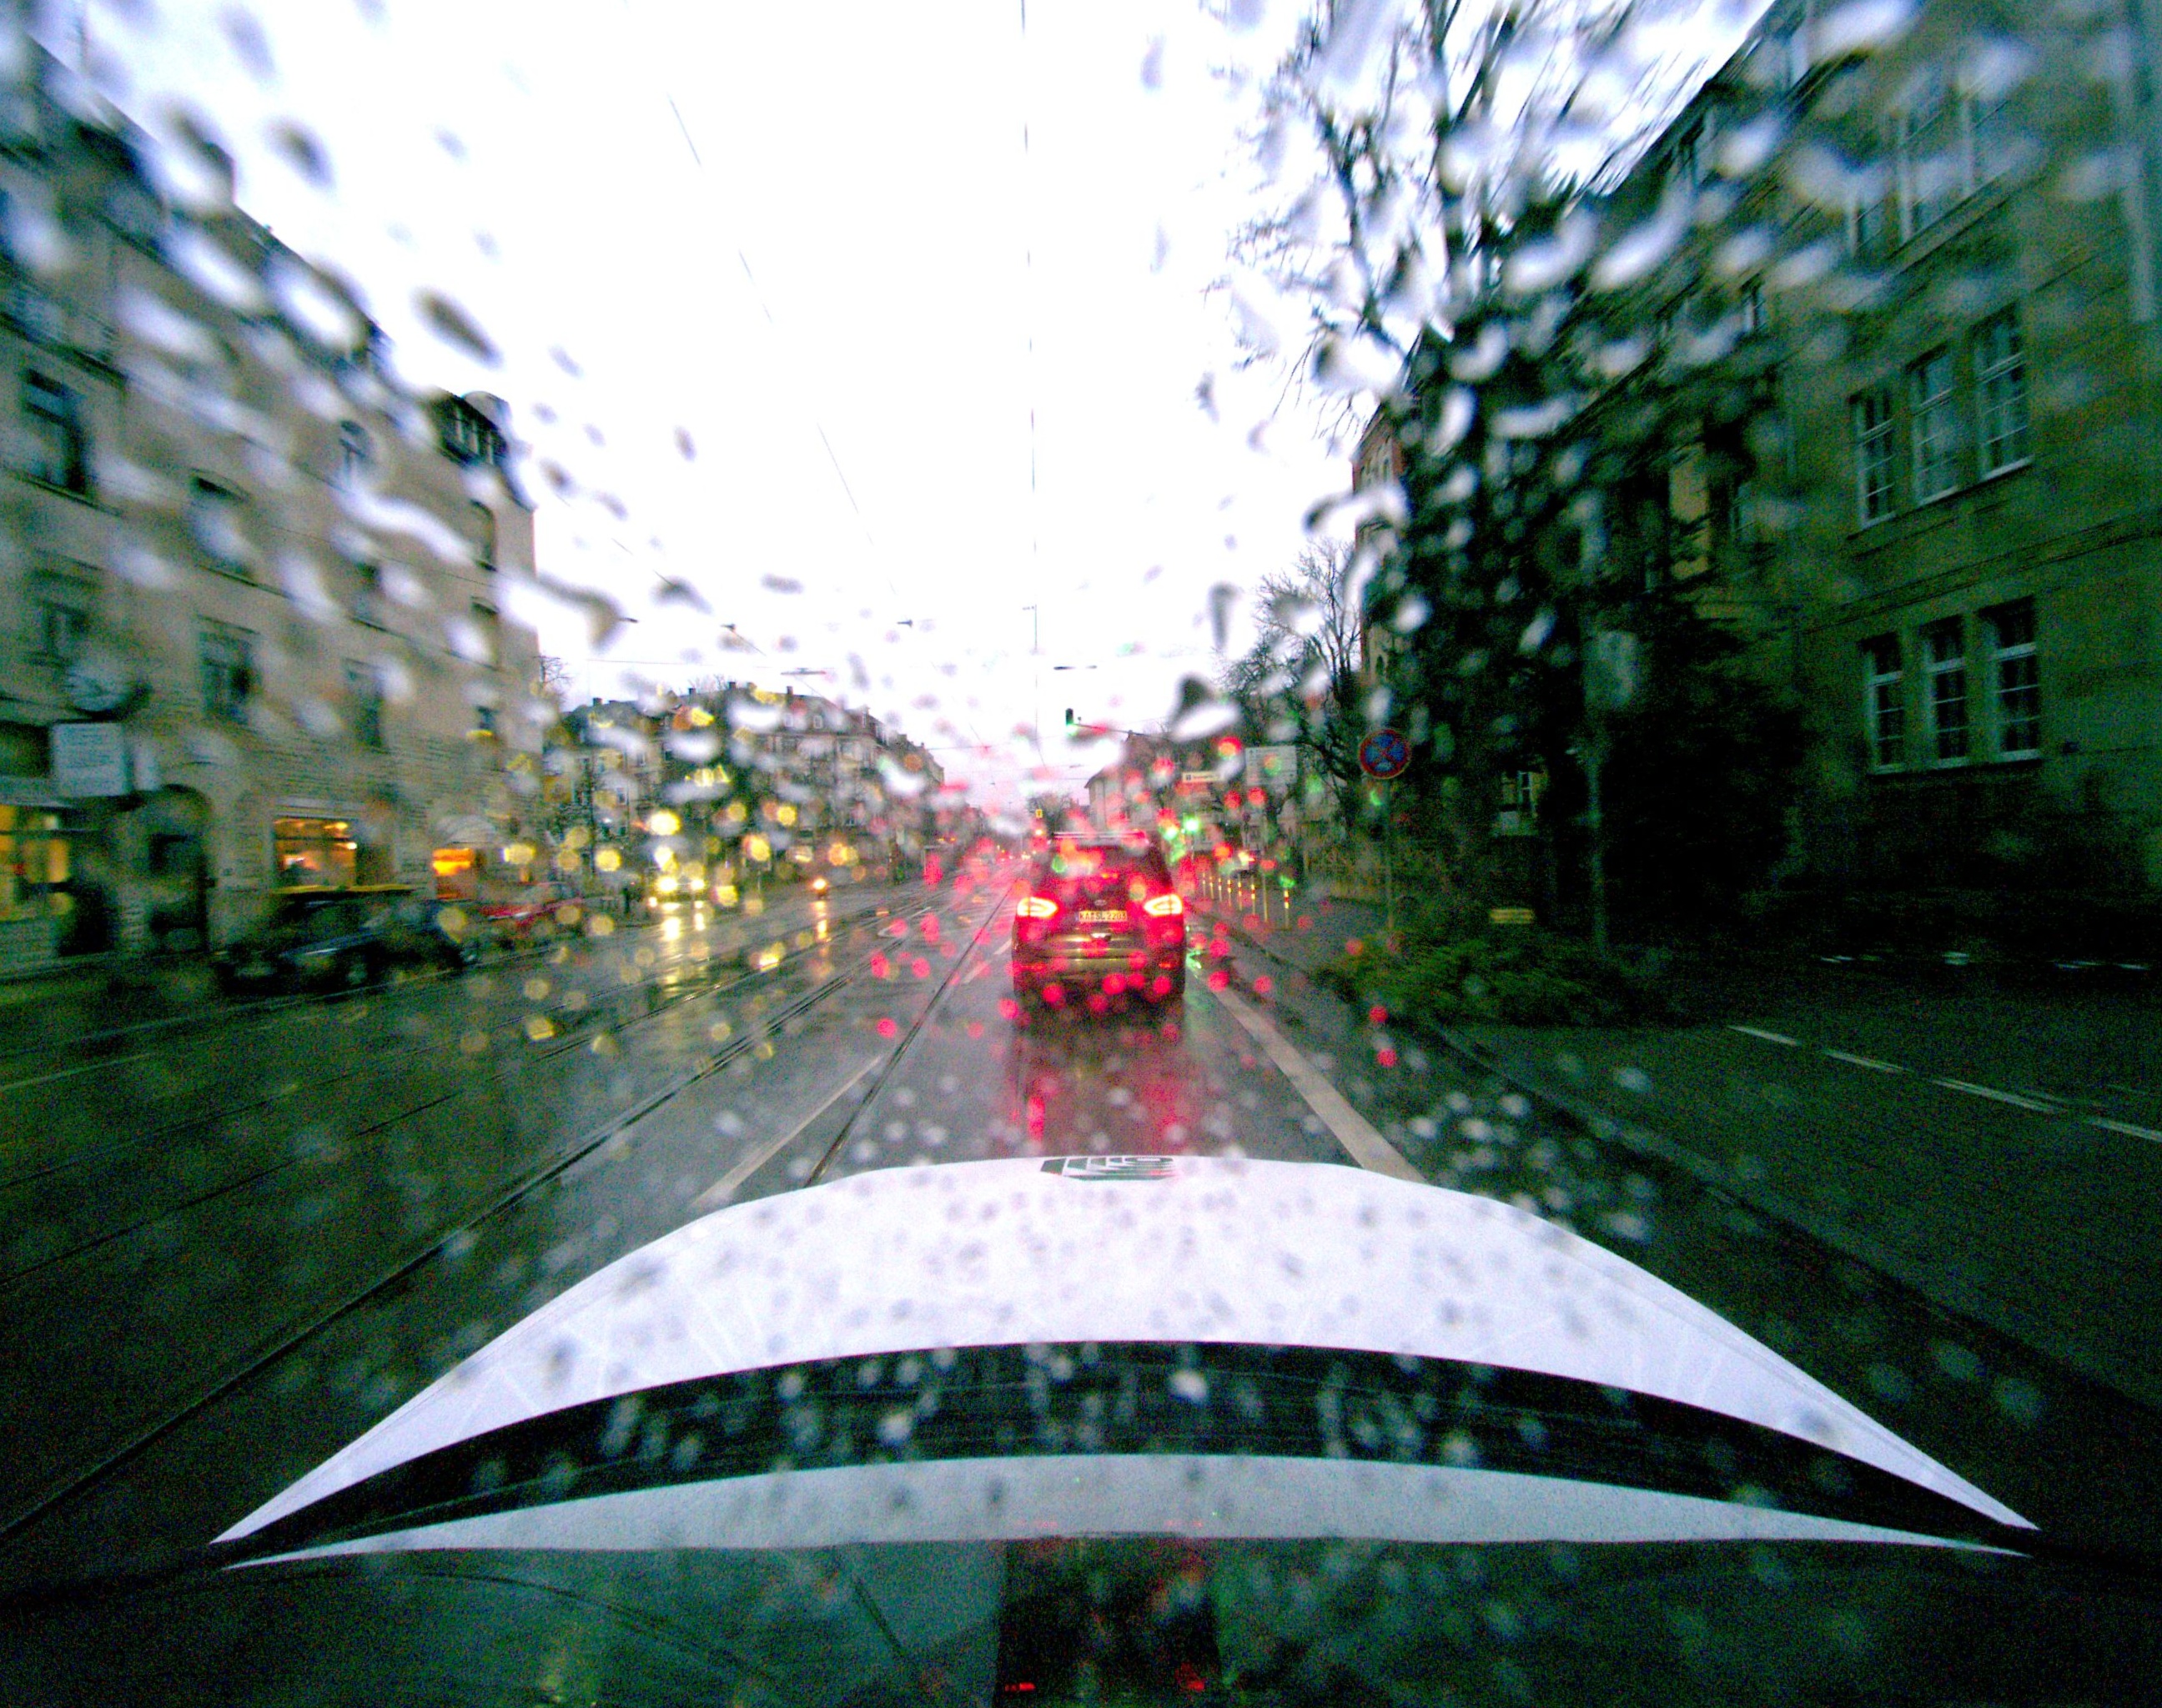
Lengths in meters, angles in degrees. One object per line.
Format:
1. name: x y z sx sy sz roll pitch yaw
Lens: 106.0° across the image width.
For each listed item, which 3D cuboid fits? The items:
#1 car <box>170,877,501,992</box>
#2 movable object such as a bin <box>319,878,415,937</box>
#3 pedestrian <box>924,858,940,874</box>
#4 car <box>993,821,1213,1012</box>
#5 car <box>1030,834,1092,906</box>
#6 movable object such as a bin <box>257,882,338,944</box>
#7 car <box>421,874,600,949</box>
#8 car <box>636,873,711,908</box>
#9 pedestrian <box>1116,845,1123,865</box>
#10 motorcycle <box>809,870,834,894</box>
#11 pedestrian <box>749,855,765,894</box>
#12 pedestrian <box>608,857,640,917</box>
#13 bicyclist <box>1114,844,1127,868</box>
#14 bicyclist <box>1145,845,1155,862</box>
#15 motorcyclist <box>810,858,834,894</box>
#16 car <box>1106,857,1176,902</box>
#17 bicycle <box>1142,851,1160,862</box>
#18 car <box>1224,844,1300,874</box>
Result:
1. car: -13.157 1.316 14.912 1.983 1.645 4.622 2 -1 -5
2. movable object such as a bin: -18.188 1.353 20.781 1.291 1.367 1.251 -2 0 -3
3. pedestrian: -11.103 0.887 60.790 1.045 1.200 0.884 -2 -1 -2
4. car: 0.185 0.591 10.182 2.097 1.816 4.658 -1 0 -1
5. car: -0.663 0.469 25.473 1.705 2.014 4.294 -2 0 -3
6. movable object such as a bin: -18.576 1.379 19.332 0.897 1.377 1.005 -2 0 -3
7. car: -14.133 1.361 20.520 2.036 1.552 4.020 1 0 -8
8. car: -21.802 1.937 43.529 3.948 1.673 2.035 -2 0 39
9. pedestrian: 3.795 0.096 80.153 0.594 2.014 0.631 -2 -1 1
10. motorcycle: -11.444 1.226 36.006 0.857 0.991 1.910 -2 0 -13
11. pedestrian: -16.980 1.074 42.701 0.707 2.013 0.655 -2 0 -23
12. pedestrian: -15.777 1.133 28.111 0.748 2.014 0.652 -2 -1 33
13. bicyclist: 2.819 0.136 57.716 0.716 1.662 1.054 1 0 -7
14. bicyclist: 7.795 -0.067 91.580 0.799 1.919 0.712 -2 0 29
15. motorcyclist: -11.444 0.953 36.028 0.845 1.548 1.010 -2 0 -14
16. car: 2.537 1.005 33.502 1.694 1.662 4.021 -2 -1 22
17. bicycle: 7.871 0.313 91.552 1.832 1.183 0.718 -2 0 29
18. car: 9.375 0.232 42.054 4.020 1.376 1.651 -3 0 -38
